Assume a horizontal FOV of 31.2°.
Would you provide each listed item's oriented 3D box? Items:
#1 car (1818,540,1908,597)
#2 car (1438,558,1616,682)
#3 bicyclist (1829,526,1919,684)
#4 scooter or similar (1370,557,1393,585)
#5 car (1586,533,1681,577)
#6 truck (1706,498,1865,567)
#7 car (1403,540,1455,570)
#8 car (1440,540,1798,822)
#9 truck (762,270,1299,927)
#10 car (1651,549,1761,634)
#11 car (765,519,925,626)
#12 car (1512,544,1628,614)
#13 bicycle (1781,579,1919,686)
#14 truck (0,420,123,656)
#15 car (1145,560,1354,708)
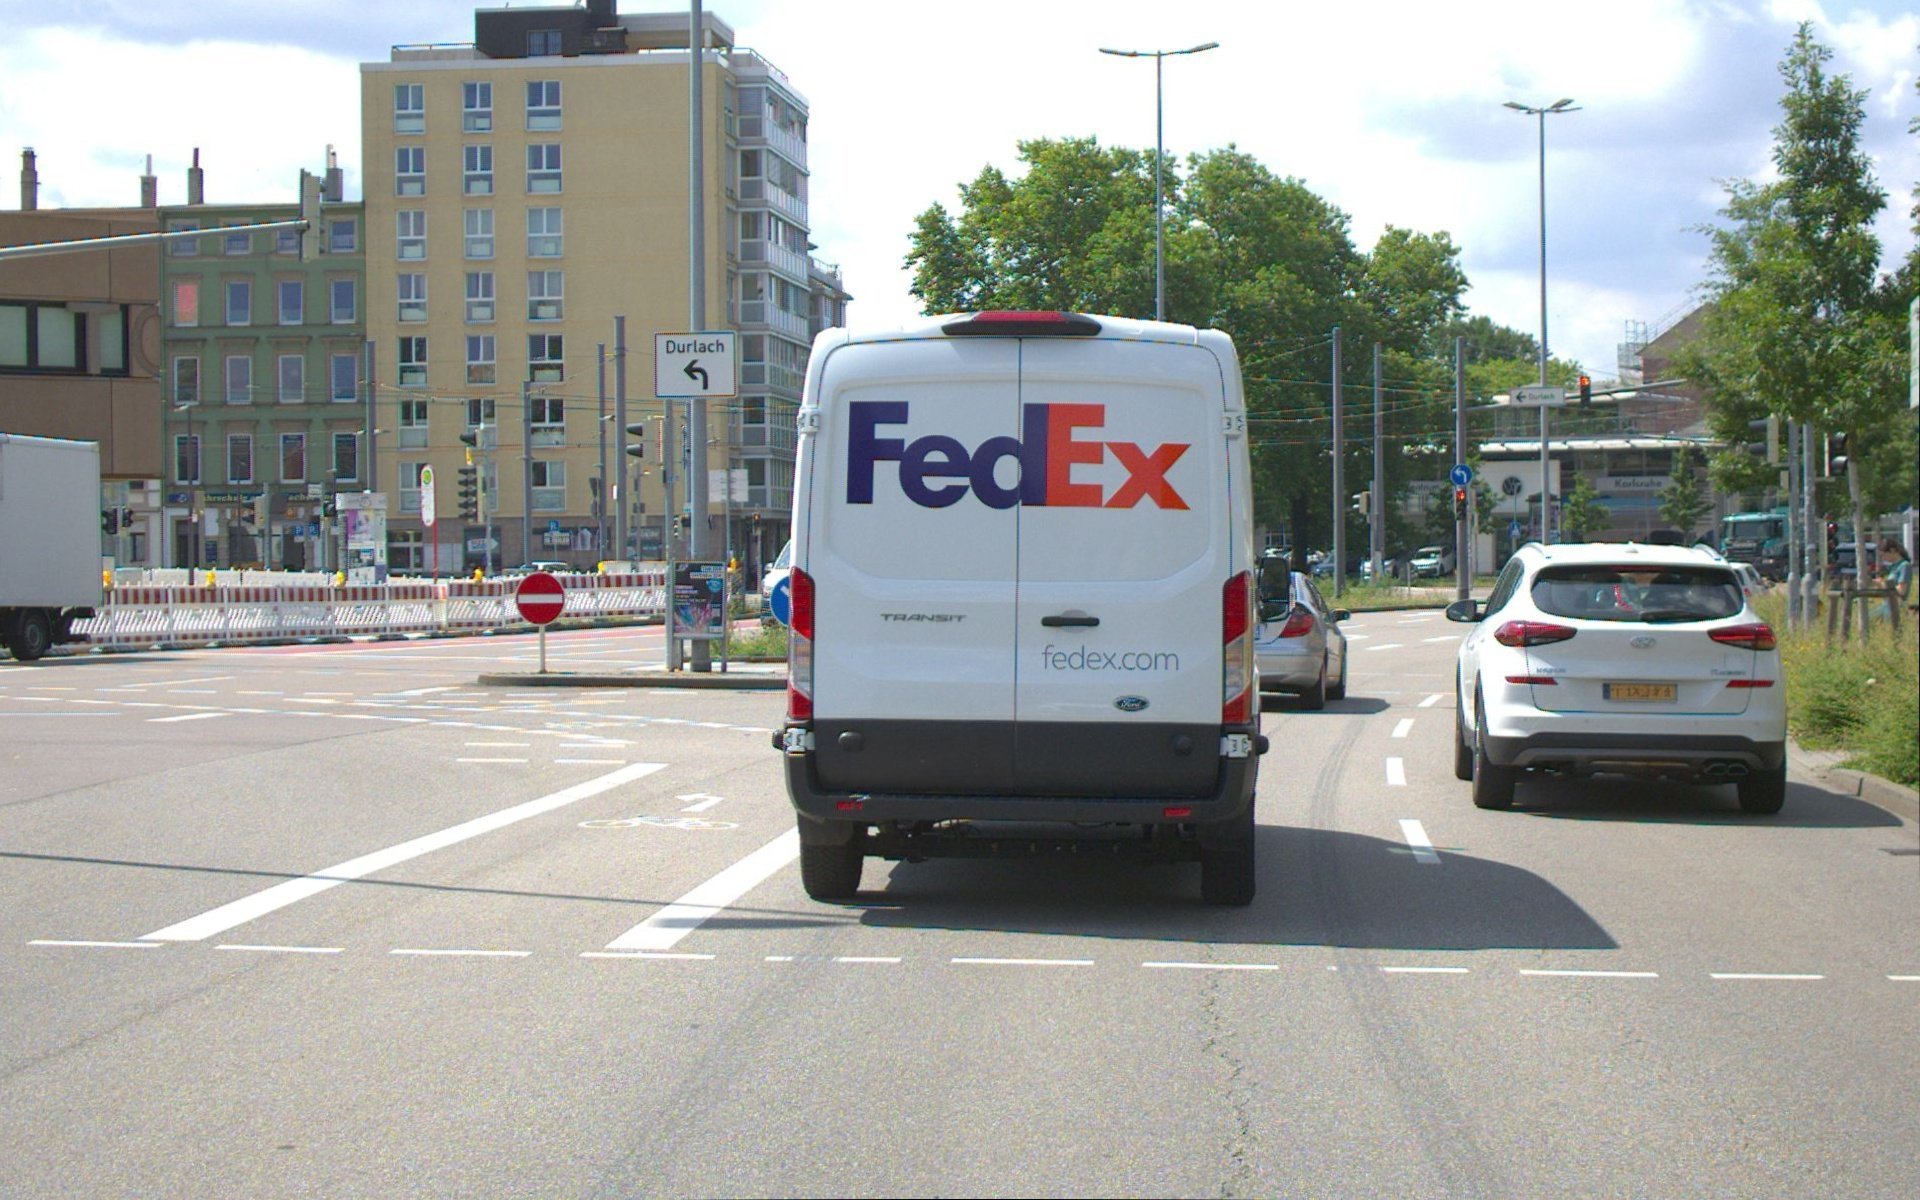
[{"bbox_3d":[26.722,-0.960,101.635,1.883,1.636,3.952,0,1,25],"label":"car"},{"bbox_3d":[6.862,0.212,41.897,1.915,1.415,3.917,0,1,6],"label":"car"},{"bbox_3d":[9.580,0.056,35.883,0.828,1.596,0.579,-3,-1,5],"label":"bicyclist"},{"bbox_3d":[17.380,-1.198,141.817,0.379,1.112,1.092,1,0,41],"label":"scooter or similar"},{"bbox_3d":[28.736,-1.938,146.651,1.722,1.794,4.728,-1,1,43],"label":"car"},{"bbox_3d":[35.236,-2.864,146.493,2.892,2.842,8.771,0,1,41],"label":"truck"},{"bbox_3d":[26.070,-2.473,190.927,1.995,1.568,4.174,1,0,20],"label":"car"},{"bbox_3d":[4.157,0.442,22.271,1.881,1.636,4.232,0,1,5],"label":"car"},{"bbox_3d":[0.442,-0.040,16.862,2.137,2.631,5.917,1,1,3],"label":"truck"},{"bbox_3d":[15.062,-0.195,69.279,1.882,1.636,3.954,0,1,16],"label":"car"},{"bbox_3d":[-2.085,-0.535,63.727,1.882,1.888,4.867,0,1,12],"label":"car"},{"bbox_3d":[14.887,-0.539,83.749,1.930,1.636,4.787,0,1,21],"label":"car"},{"bbox_3d":[9.564,0.328,35.883,1.810,1.046,0.592,-3,-1,5],"label":"bicycle"},{"bbox_3d":[-13.554,-0.818,44.245,1.995,3.057,7.324,1,0,16],"label":"truck"},{"bbox_3d":[3.022,0.305,35.190,1.742,1.387,4.178,0,1,10],"label":"car"}]
